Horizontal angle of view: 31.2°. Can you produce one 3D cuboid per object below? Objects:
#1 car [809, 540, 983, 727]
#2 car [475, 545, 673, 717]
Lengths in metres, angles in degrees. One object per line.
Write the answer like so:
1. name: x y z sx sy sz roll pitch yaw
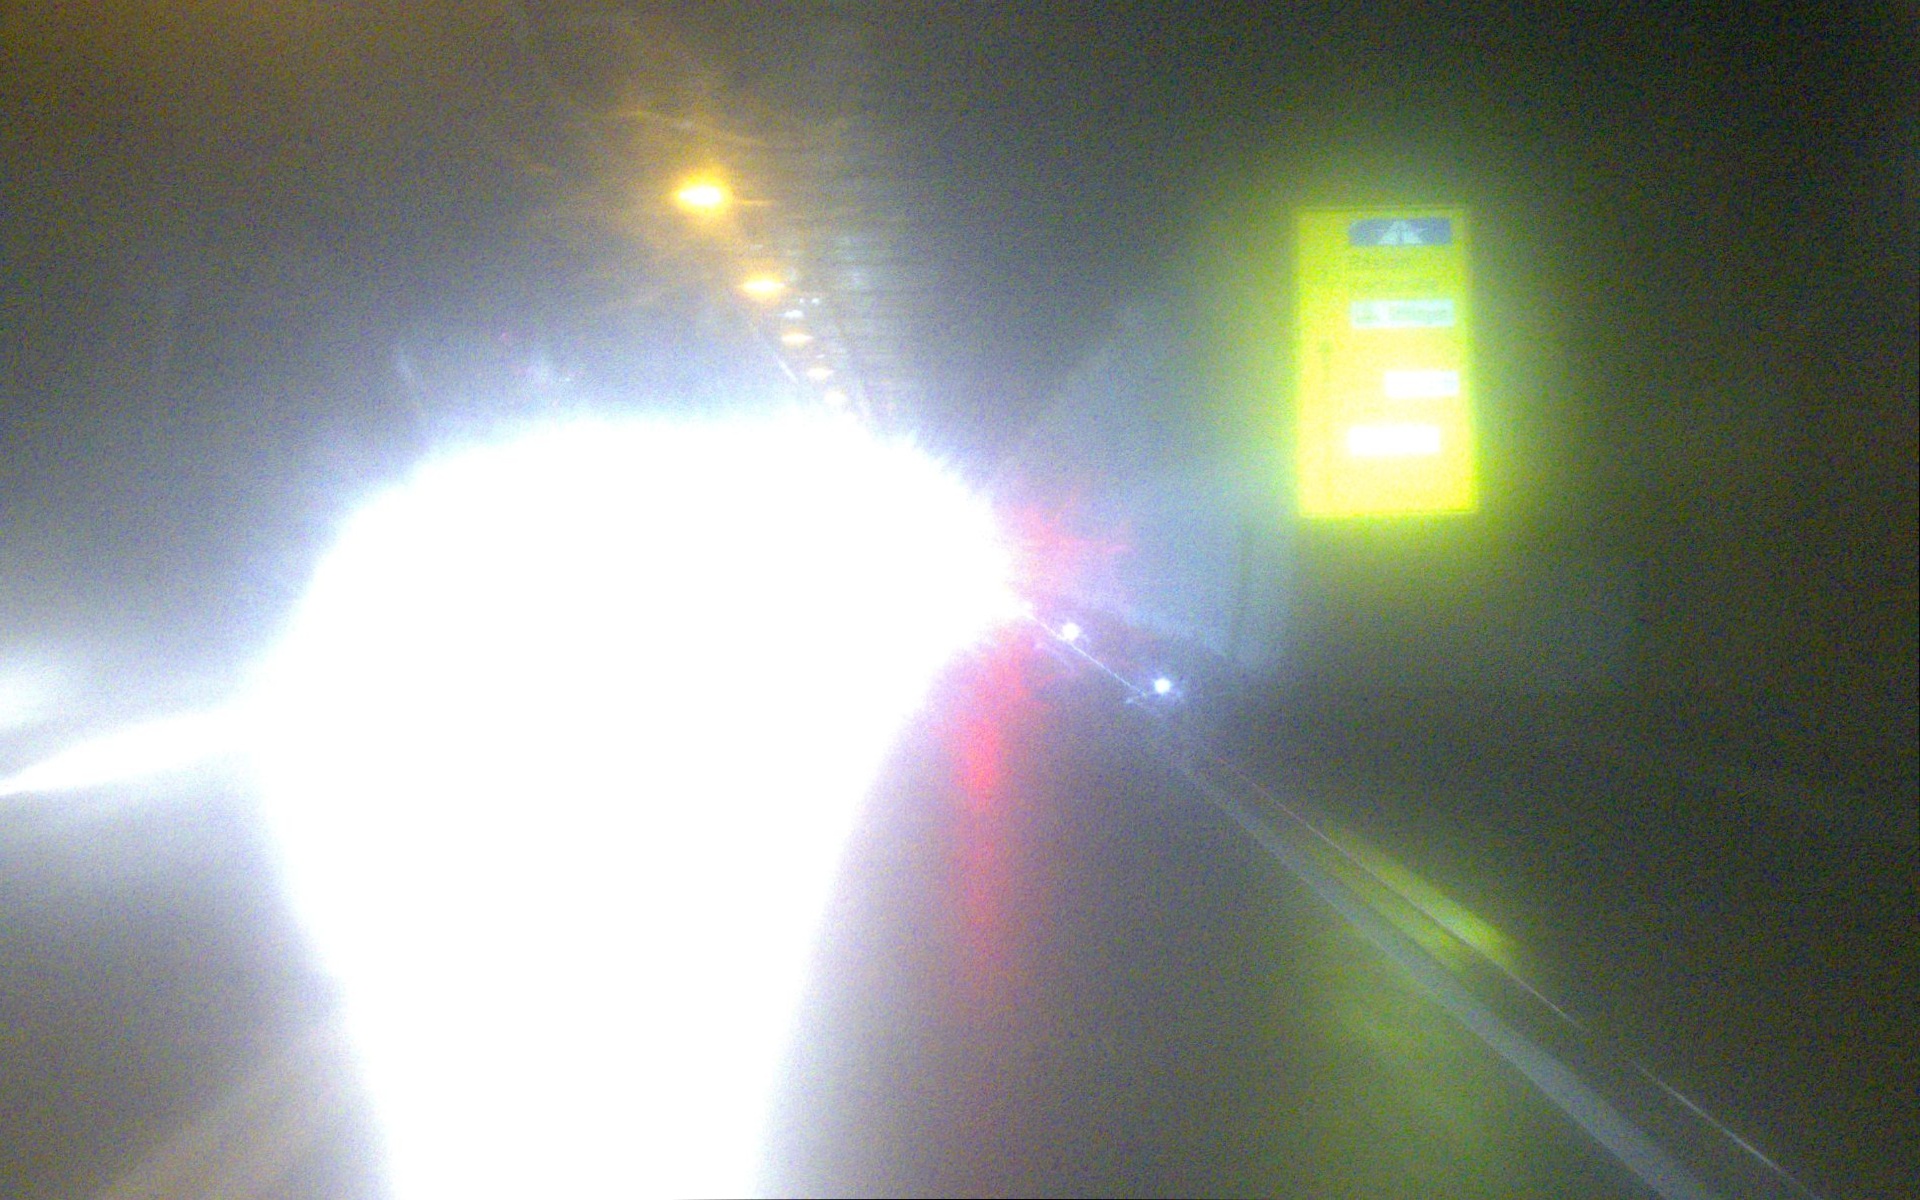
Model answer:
1. car: -0.614 0.281 34.403 1.635 1.752 4.146 0 1 0
2. car: -3.775 0.259 34.136 1.520 1.544 4.054 0 2 0
